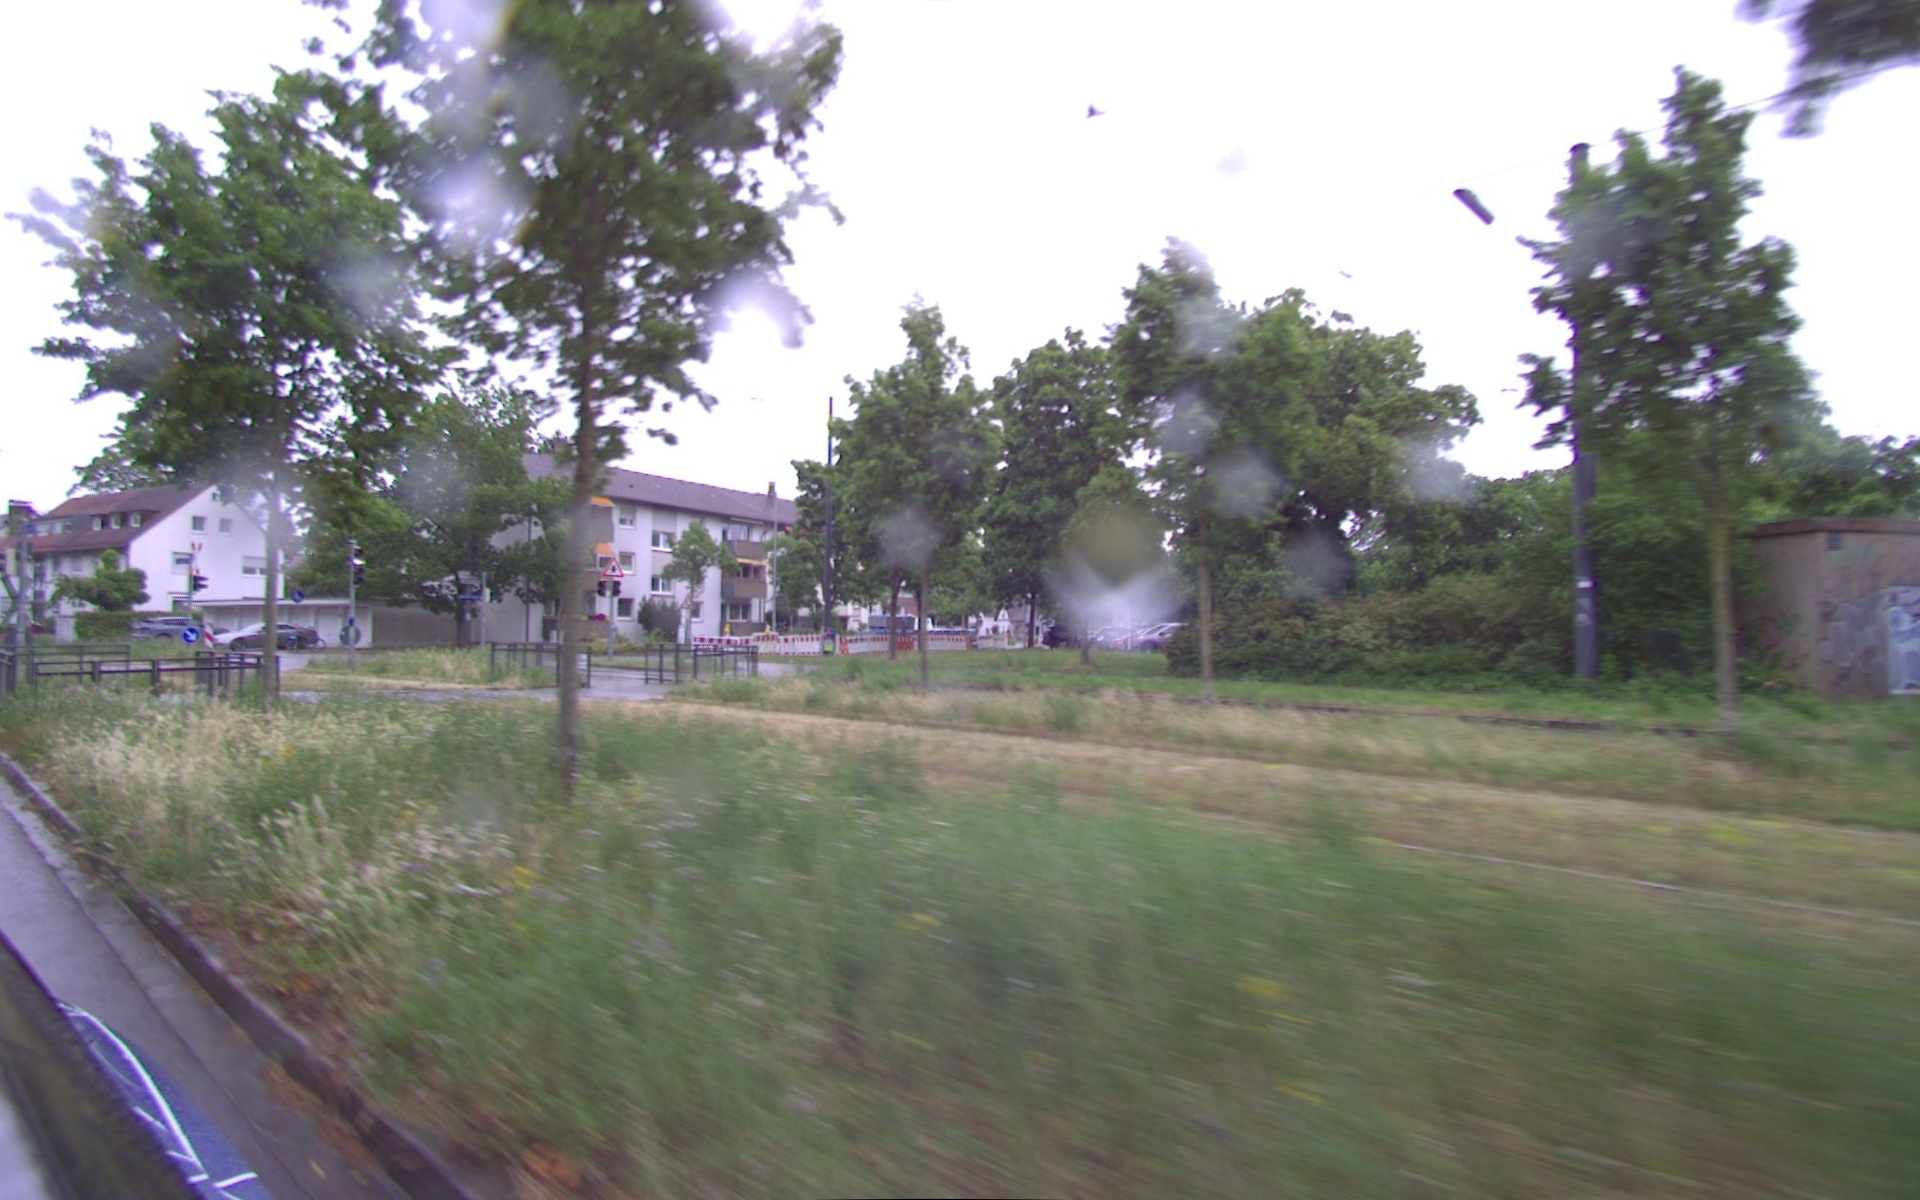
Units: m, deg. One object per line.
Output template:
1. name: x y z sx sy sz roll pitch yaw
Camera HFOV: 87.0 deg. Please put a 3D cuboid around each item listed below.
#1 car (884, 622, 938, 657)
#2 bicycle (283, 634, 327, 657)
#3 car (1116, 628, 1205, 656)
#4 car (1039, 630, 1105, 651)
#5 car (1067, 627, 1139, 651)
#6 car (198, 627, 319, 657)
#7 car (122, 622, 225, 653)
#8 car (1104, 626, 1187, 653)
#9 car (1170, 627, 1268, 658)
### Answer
1. car: -3.485 2.849 73.230 1.908 2.465 4.428 -1 -3 28
2. bicycle: -30.599 2.119 47.274 1.818 1.027 0.481 -1 1 4
3. car: 9.355 1.955 47.325 3.681 1.258 1.669 1 -2 -10
4. car: 6.840 2.478 61.991 3.681 1.258 1.669 1 -2 -10
5. car: 8.113 2.219 57.406 3.681 1.258 1.669 1 -2 -10
6. car: -35.193 2.081 50.927 1.841 1.376 4.692 -1 -1 30
7. car: -42.474 2.048 54.739 1.883 1.588 3.963 -1 -3 27
8. car: 9.132 1.955 50.009 3.681 1.258 1.669 1 -2 -10
9. car: 11.094 1.813 43.404 3.681 1.258 1.669 1 -2 -10
